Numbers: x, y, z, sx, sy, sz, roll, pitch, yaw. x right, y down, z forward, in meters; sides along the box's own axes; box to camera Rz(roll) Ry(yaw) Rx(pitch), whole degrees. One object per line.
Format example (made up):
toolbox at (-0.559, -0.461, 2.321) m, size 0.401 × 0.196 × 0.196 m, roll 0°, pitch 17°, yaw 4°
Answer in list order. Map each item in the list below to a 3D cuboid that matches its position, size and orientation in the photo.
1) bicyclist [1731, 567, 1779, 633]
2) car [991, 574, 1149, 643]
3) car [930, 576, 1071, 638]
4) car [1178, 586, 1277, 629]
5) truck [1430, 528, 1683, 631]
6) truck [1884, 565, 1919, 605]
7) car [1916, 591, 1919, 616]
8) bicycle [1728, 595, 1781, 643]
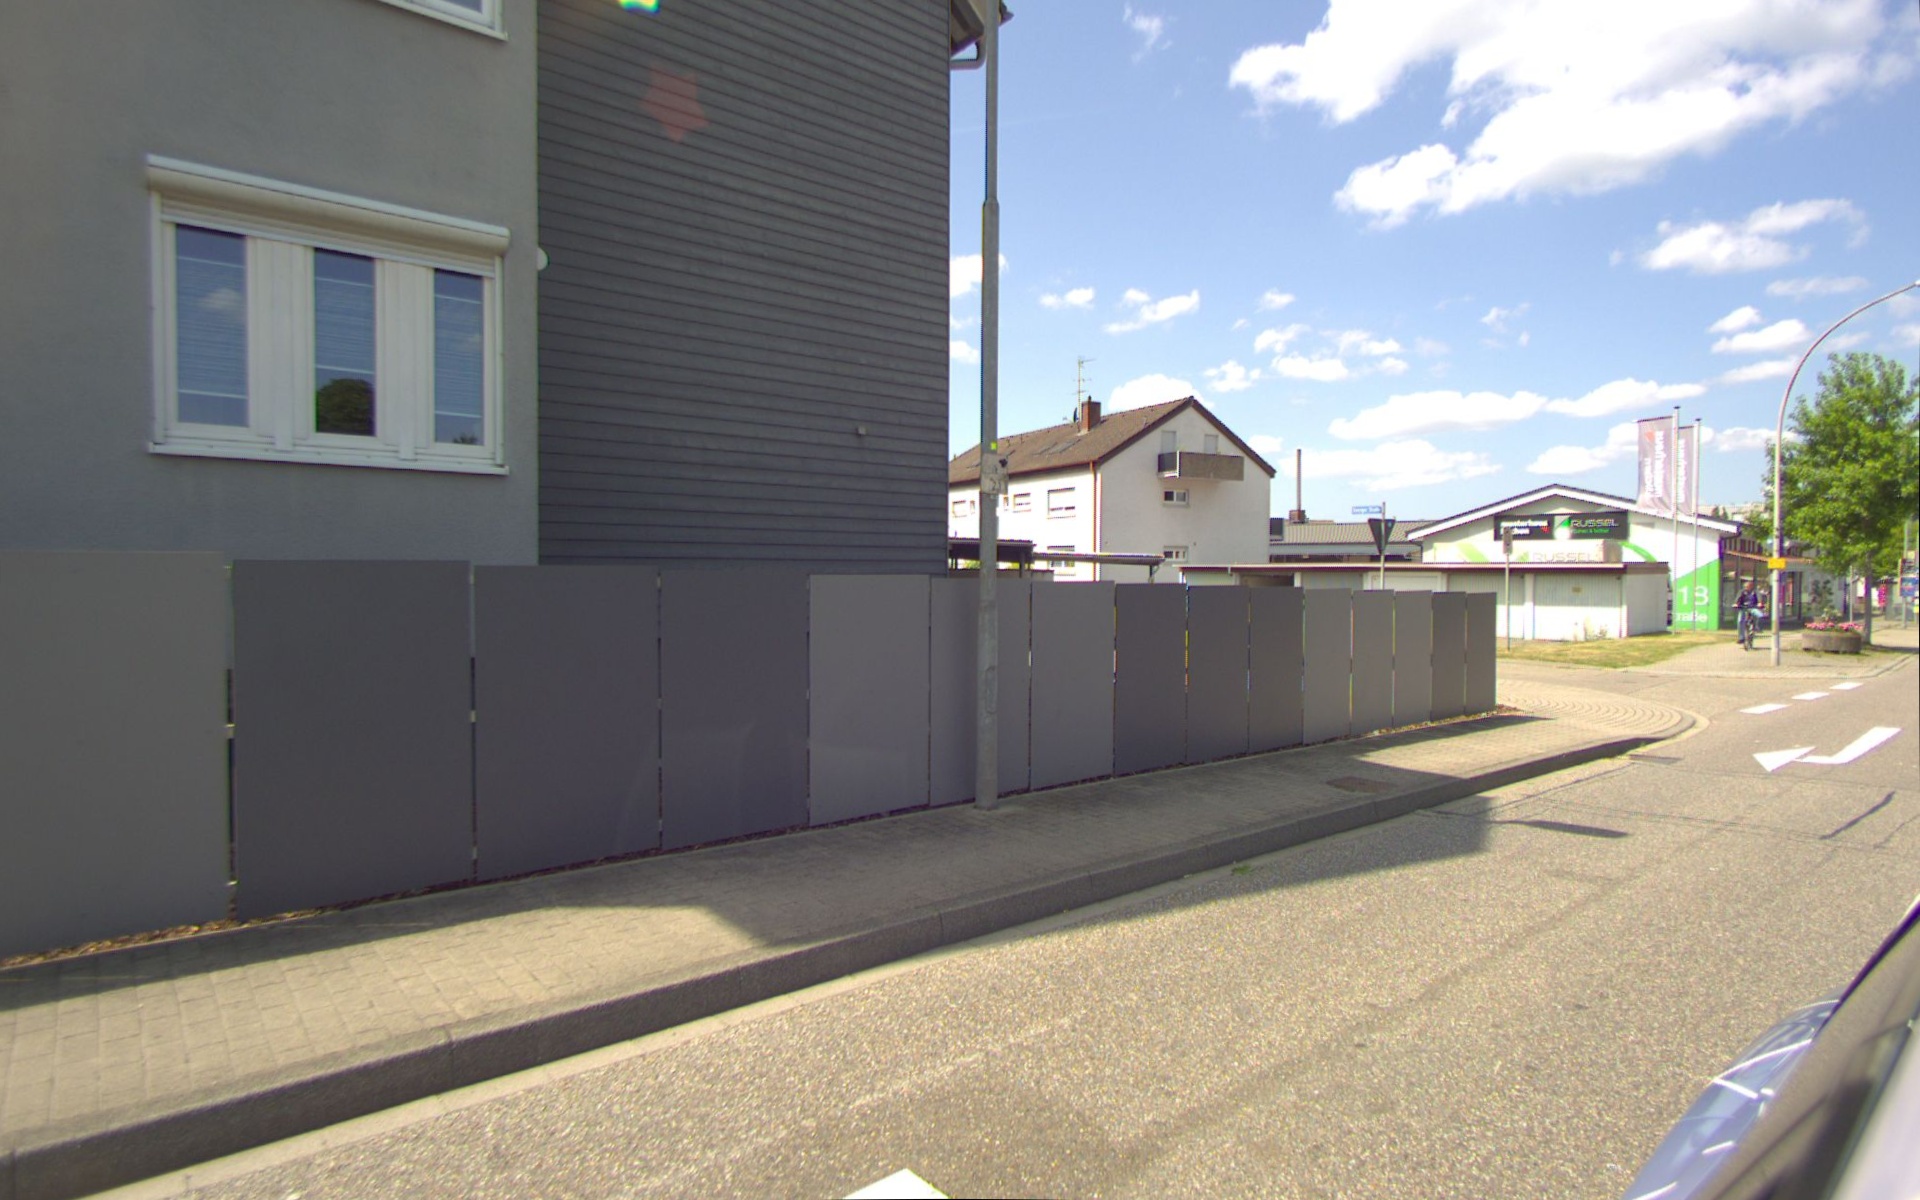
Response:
bicyclist at (20.399, -0.018, 25.960) m, size 1.093 × 1.650 × 0.804 m, roll 1°, pitch 0°, yaw -44°
car at (2.975, 0.254, 26.831) m, size 4.140 × 1.669 × 1.740 m, roll 2°, pitch 1°, yaw -40°
car at (1.191, 0.202, 28.678) m, size 3.784 × 1.607 × 1.740 m, roll 2°, pitch 1°, yaw -40°
car at (10.187, 0.226, 38.392) m, size 4.060 × 1.522 × 1.678 m, roll -1°, pitch 1°, yaw -42°
truck at (23.096, -0.800, 39.635) m, size 2.633 × 3.617 × 8.180 m, roll -2°, pitch 2°, yaw -42°
truck at (70.102, -1.123, 74.701) m, size 2.571 × 2.795 × 6.241 m, roll 3°, pitch 3°, yaw 41°
car at (60.862, 0.244, 62.987) m, size 3.697 × 1.511 × 1.727 m, roll -1°, pitch 3°, yaw -44°
bicycle at (20.416, 0.475, 25.978) m, size 1.911 × 1.179 × 0.804 m, roll 1°, pitch 0°, yaw -44°
